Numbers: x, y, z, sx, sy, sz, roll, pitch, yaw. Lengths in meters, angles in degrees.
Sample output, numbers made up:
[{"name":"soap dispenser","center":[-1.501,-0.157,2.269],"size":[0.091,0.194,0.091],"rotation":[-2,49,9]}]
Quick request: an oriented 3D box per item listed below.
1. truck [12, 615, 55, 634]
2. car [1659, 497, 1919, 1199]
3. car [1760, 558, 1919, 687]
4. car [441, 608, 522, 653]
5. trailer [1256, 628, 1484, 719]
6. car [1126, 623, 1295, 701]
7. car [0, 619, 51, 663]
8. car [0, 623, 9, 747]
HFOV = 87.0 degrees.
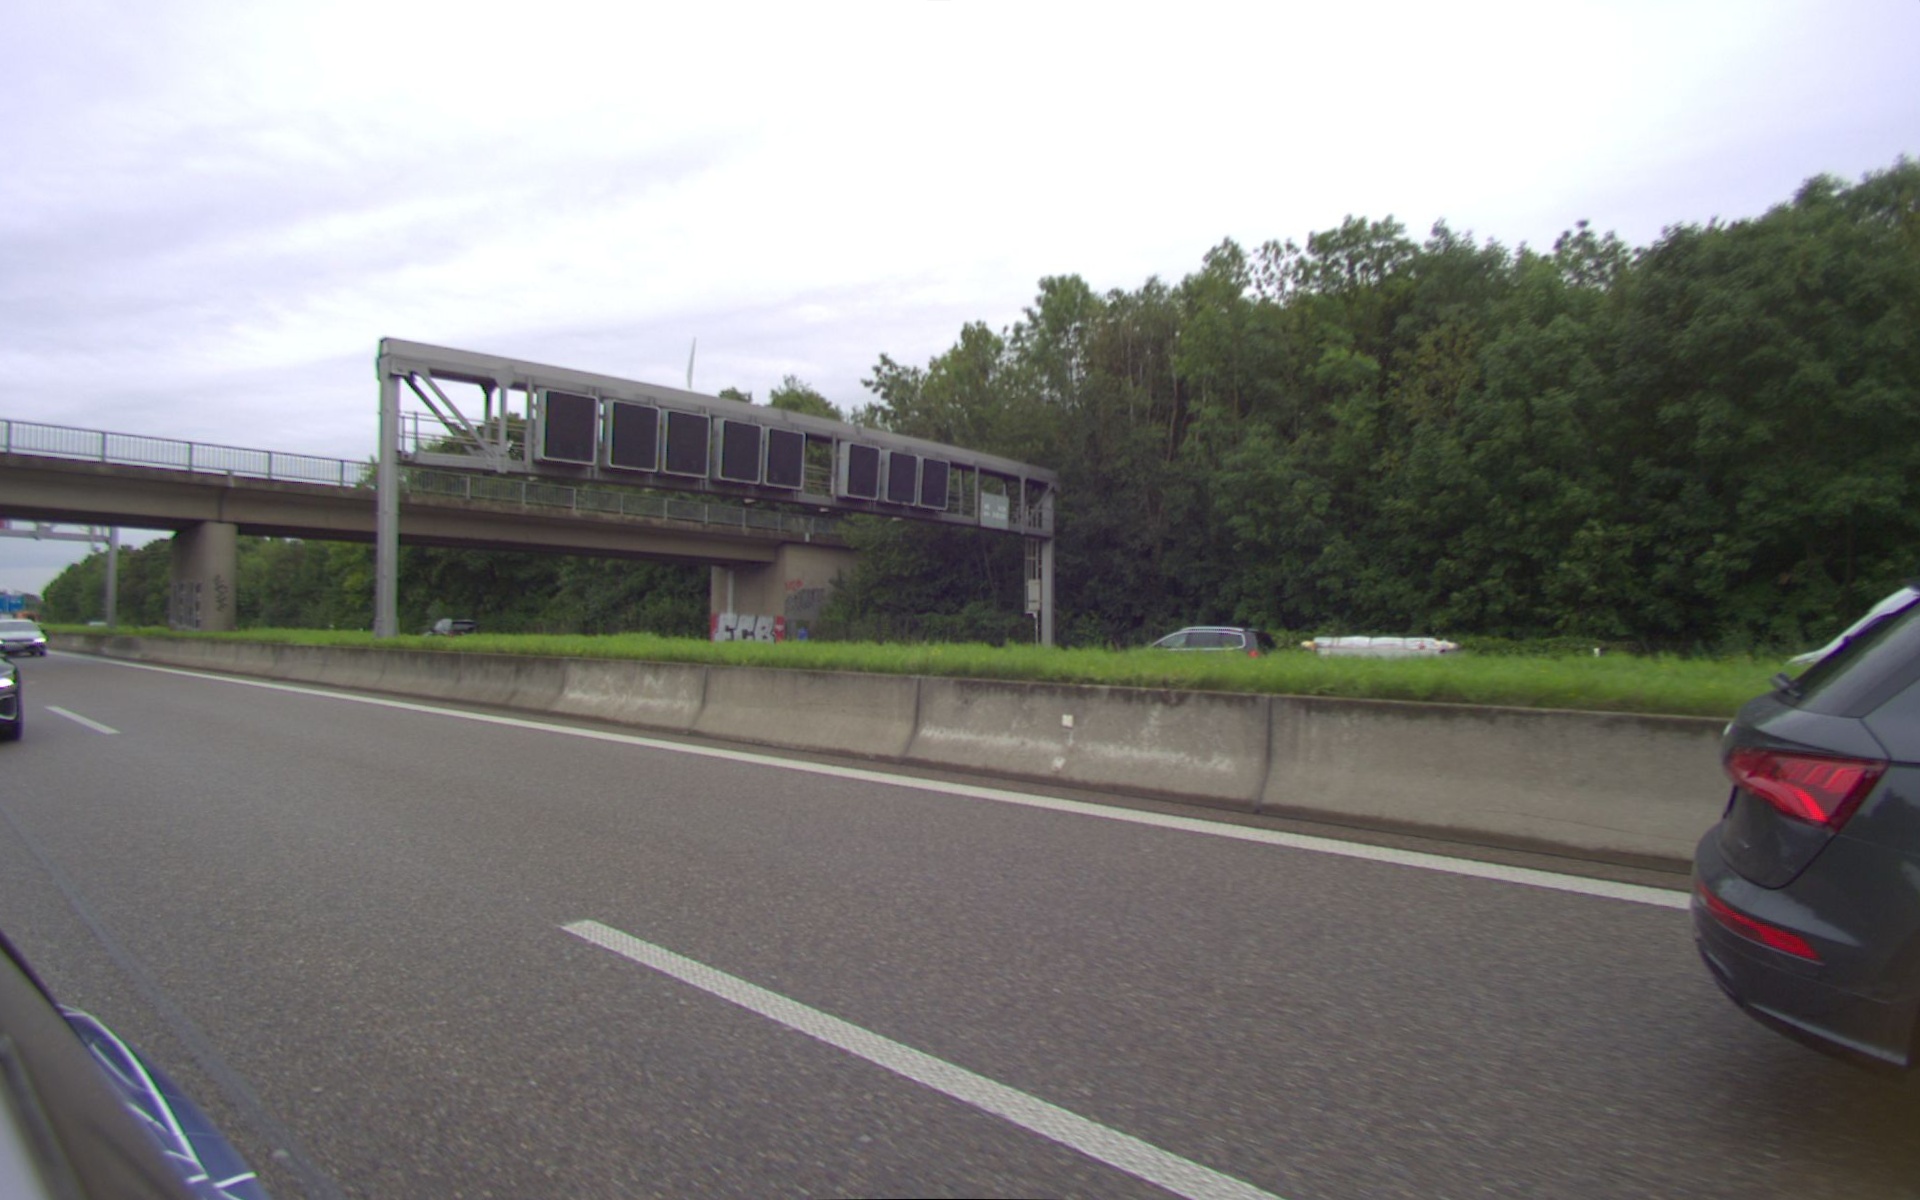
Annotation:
[{"name":"truck","center":[-174.512,4.536,190.633],"size":[11.270,3.449,4.780],"rotation":[-1,0,41]},{"name":"car","center":[4.352,0.546,1.632],"size":[5.121,1.612,1.973],"rotation":[-1,0,41]},{"name":"car","center":[17.084,0.340,16.623],"size":[6.065,2.100,2.173],"rotation":[-1,0,42]},{"name":"car","center":[-22.015,1.373,46.507],"size":[3.998,1.954,1.973],"rotation":[-1,-1,41]},{"name":"trailer","center":[10.595,1.810,26.446],"size":[5.178,2.029,1.971],"rotation":[-1,0,44]},{"name":"car","center":[7.247,1.721,29.511],"size":[4.364,2.029,1.973],"rotation":[-1,0,41]},{"name":"car","center":[-37.612,1.595,40.169],"size":[4.662,1.630,1.734],"rotation":[-1,-2,42]},{"name":"car","center":[-12.791,1.004,12.220],"size":[3.325,1.422,1.595],"rotation":[-1,0,41]}]
